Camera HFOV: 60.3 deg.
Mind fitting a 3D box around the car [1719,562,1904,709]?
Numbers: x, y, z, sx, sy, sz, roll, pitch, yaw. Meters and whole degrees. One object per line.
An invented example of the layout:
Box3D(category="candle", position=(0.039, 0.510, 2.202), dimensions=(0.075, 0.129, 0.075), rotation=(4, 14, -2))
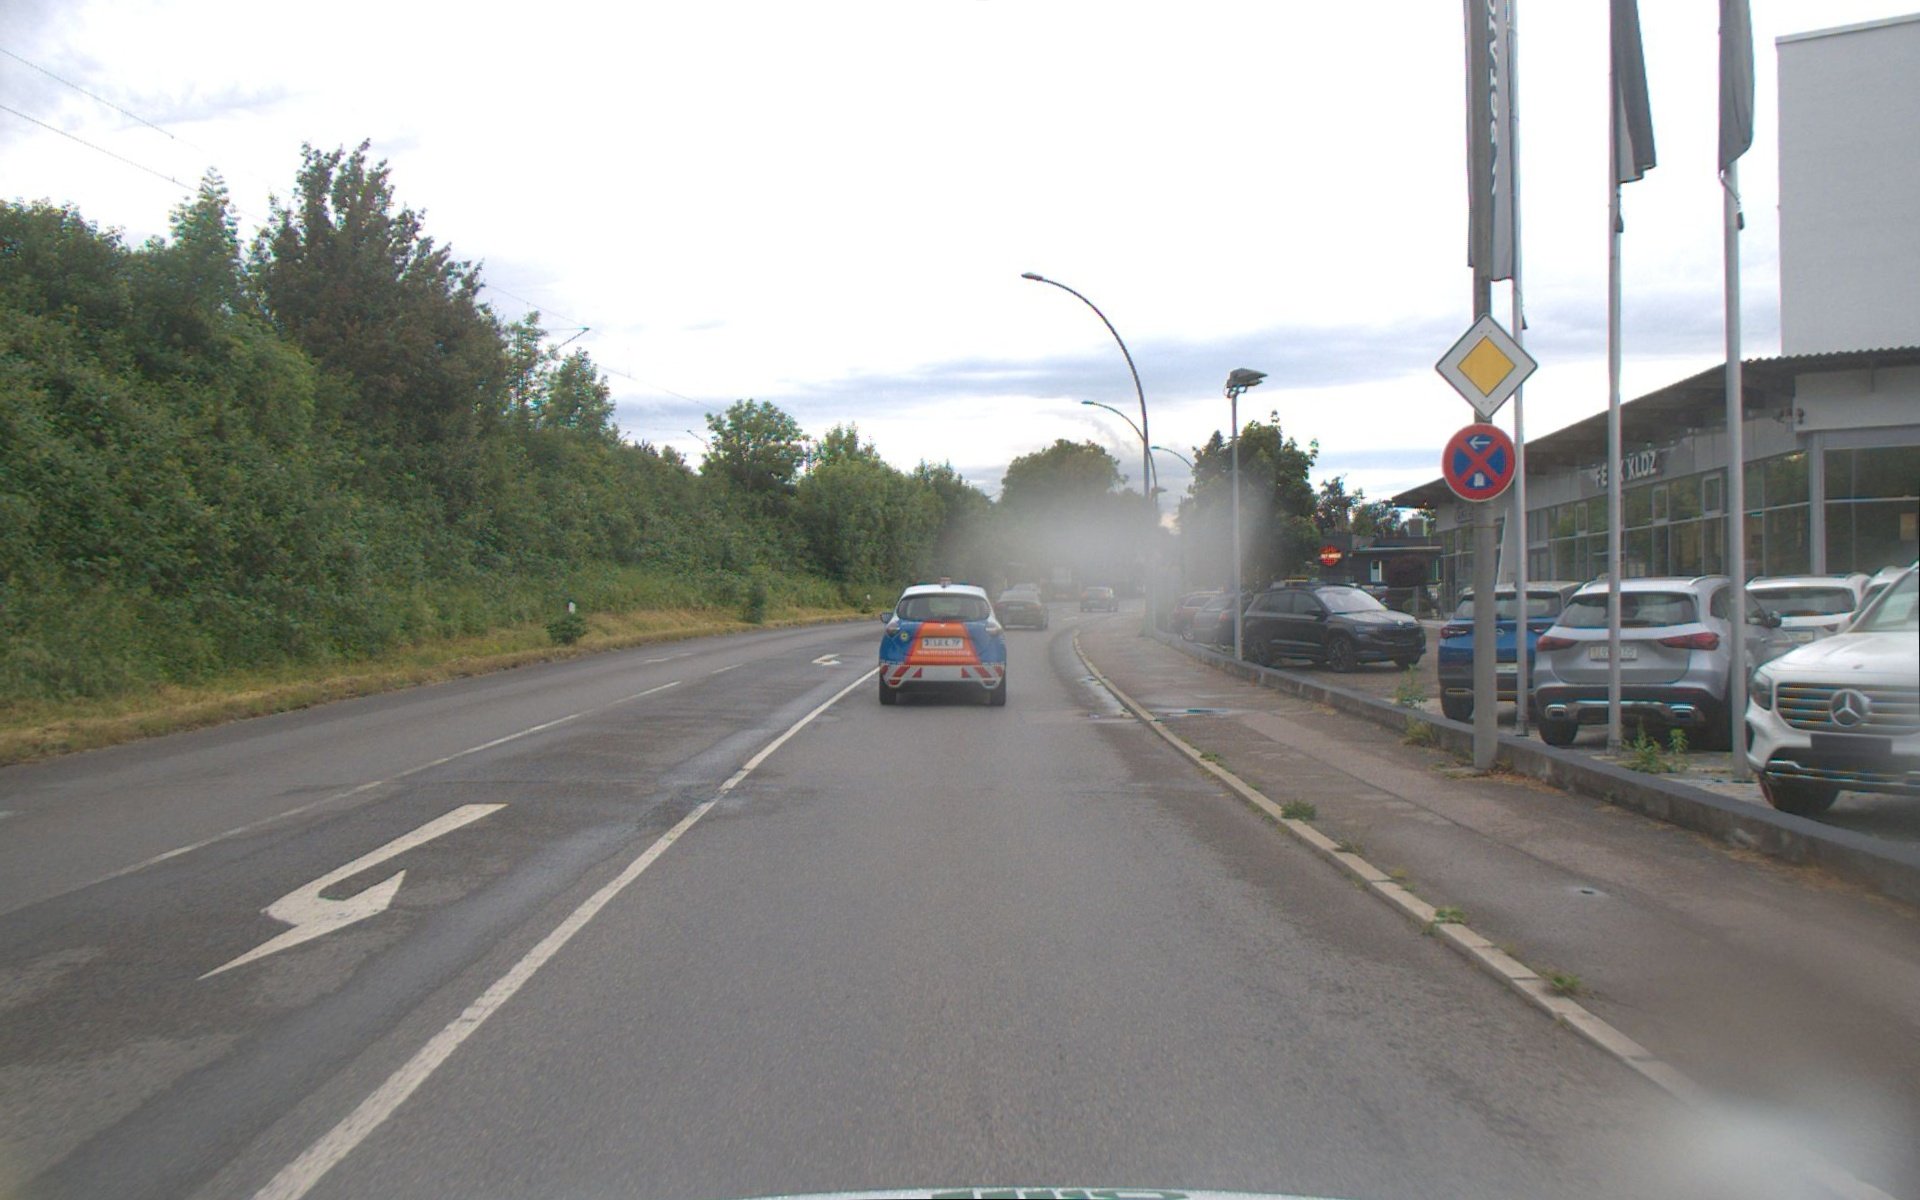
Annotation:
Box3D(category="car", position=(10.652, 0.390, 20.556), dimensions=(1.695, 1.627, 4.170), rotation=(-2, 0, 32))

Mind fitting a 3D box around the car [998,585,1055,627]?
Box3D(category="car", position=(2.378, 0.228, 58.315), dimensions=(1.684, 1.400, 3.936), rotation=(2, 0, 7))

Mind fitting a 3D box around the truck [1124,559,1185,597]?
Box3D(category="truck", position=(19.435, -2.169, 164.771), dimensions=(2.647, 3.471, 9.055), rotation=(1, -1, 29))

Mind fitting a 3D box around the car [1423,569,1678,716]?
Box3D(category="car", position=(7.586, 0.484, 20.996), dimensions=(1.807, 1.661, 4.349), rotation=(-3, -1, 37))

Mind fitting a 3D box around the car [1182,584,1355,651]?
Box3D(category="car", position=(7.888, 0.441, 42.439), dimensions=(3.927, 1.583, 1.889), rotation=(2, -1, 41))

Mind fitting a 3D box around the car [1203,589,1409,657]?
Box3D(category="car", position=(8.108, 0.505, 38.864), dimensions=(4.354, 1.505, 1.927), rotation=(0, 1, 36))

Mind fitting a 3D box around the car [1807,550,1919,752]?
Box3D(category="car", position=(8.825, 0.382, 14.746), dimensions=(1.632, 1.627, 3.543), rotation=(-2, 0, 37))

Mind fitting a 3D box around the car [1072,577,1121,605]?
Box3D(category="car", position=(7.754, -0.490, 93.528), dimensions=(1.951, 1.445, 4.002), rotation=(2, -1, 17))

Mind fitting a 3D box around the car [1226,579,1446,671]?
Box3D(category="car", position=(7.352, 0.438, 32.774), dimensions=(1.814, 1.636, 4.511), rotation=(-2, 1, -26))

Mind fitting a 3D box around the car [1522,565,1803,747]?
Box3D(category="car", position=(7.219, 0.490, 16.791), dimensions=(1.698, 1.627, 3.798), rotation=(-2, 0, 38))

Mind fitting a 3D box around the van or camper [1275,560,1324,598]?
Box3D(category="van or camper", position=(24.555, -1.522, 119.382), dimensions=(2.001, 2.638, 6.585), rotation=(-1, 0, 25))

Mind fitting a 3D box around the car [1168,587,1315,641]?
Box3D(category="car", position=(9.731, 0.480, 57.259), dimensions=(4.600, 1.691, 1.994), rotation=(2, -1, 34))

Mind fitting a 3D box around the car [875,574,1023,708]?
Box3D(category="car", position=(-0.205, 0.500, 22.994), dimensions=(1.850, 1.660, 3.998), rotation=(-1, 0, -2))

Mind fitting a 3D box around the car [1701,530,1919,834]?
Box3D(category="car", position=(6.896, 0.428, 10.661), dimensions=(4.376, 1.681, 1.904), rotation=(-1, 0, -35))
